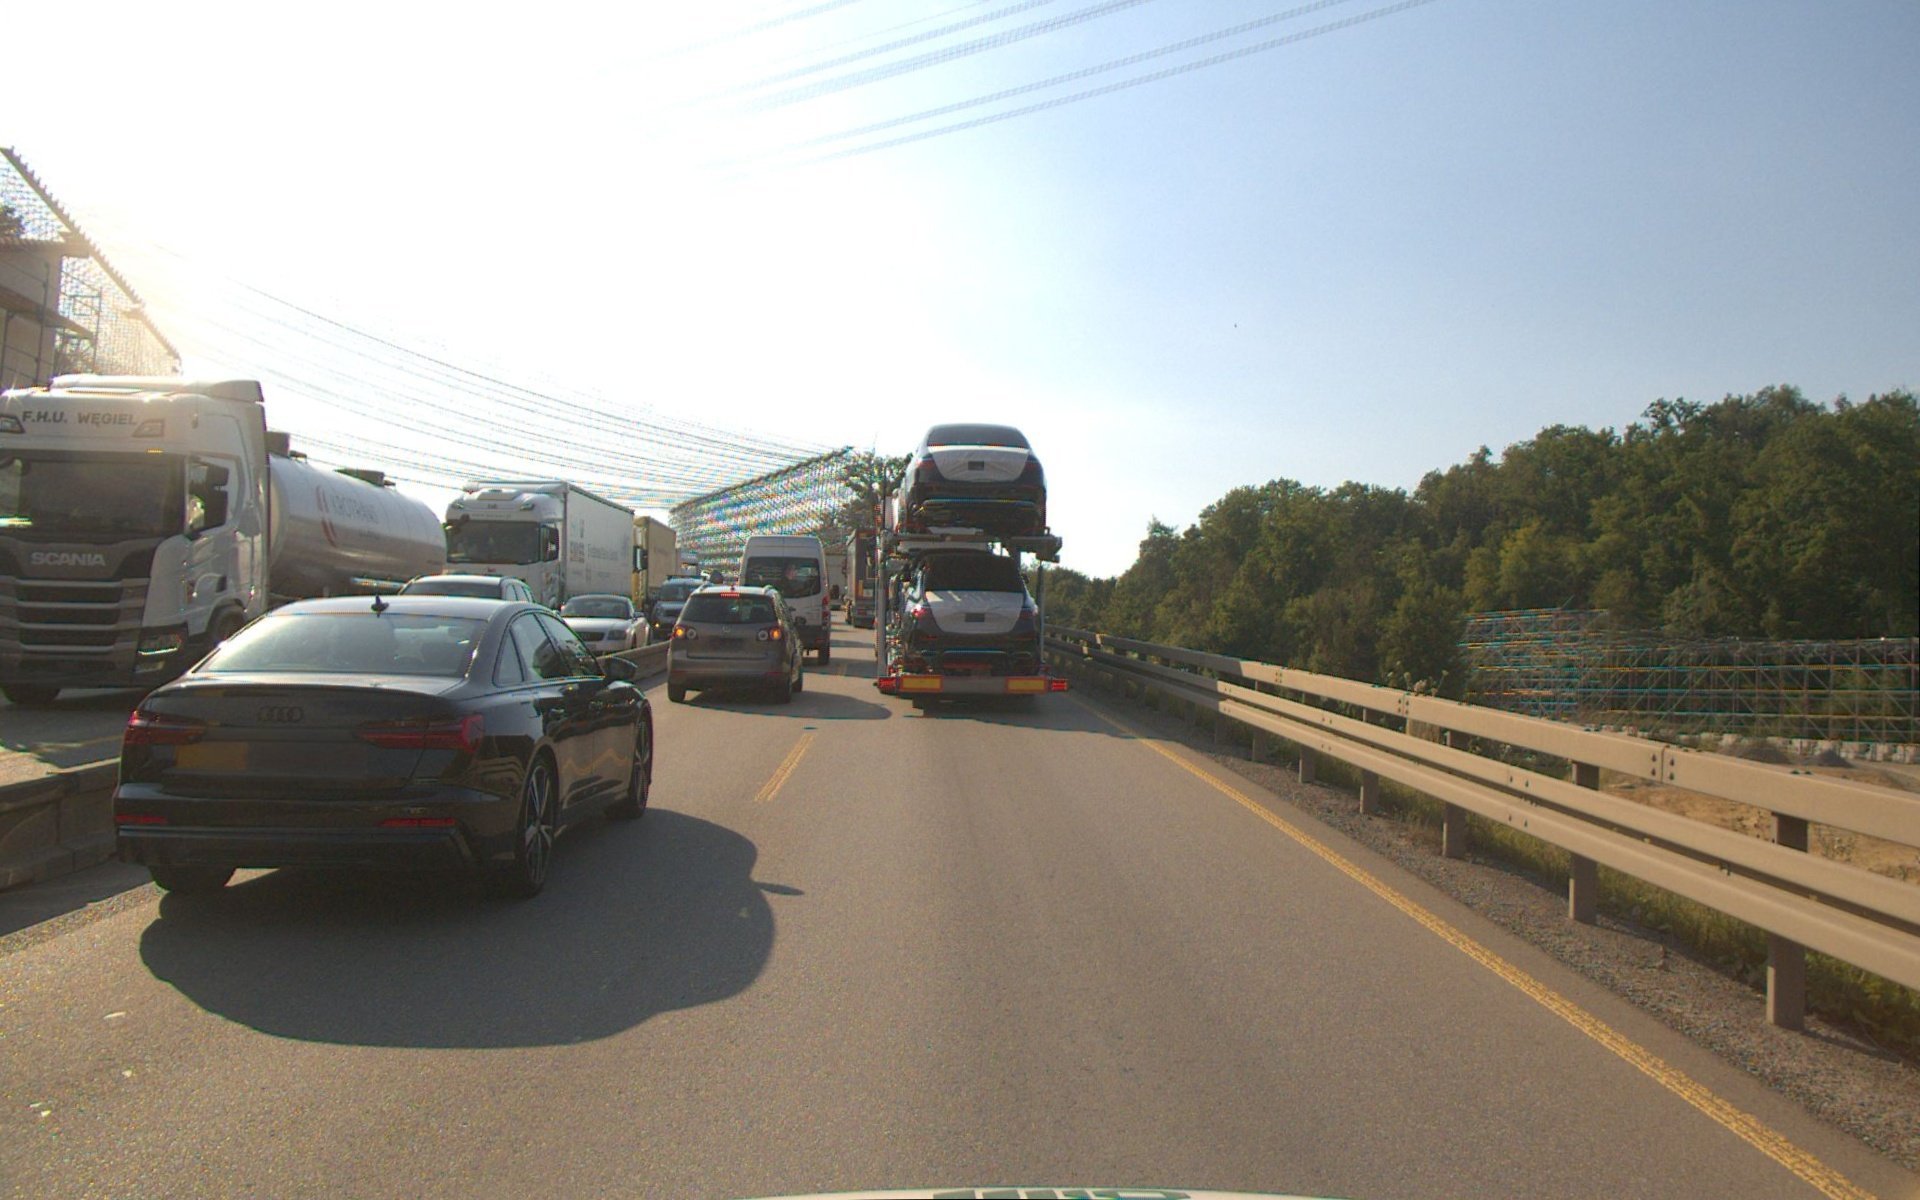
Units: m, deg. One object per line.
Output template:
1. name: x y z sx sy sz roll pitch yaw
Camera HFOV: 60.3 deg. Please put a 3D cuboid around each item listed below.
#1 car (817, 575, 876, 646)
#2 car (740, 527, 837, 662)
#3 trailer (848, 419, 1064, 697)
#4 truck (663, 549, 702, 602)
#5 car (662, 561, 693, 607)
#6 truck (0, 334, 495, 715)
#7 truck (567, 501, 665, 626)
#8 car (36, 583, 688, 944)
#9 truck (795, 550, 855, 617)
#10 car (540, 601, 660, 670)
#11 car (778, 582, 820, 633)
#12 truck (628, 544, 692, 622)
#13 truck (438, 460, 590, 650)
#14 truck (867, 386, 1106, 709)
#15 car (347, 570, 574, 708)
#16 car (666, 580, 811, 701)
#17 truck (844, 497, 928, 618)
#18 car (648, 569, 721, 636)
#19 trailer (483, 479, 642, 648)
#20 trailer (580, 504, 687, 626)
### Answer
1. car: -3.425 0.338 49.297 1.636 2.019 3.813 0 -1 -6
2. car: -3.634 -0.071 35.574 1.940 2.731 4.142 0 -1 -5
3. trailer: -0.556 -0.487 31.905 2.819 4.064 15.261 0 -1 -5
4. truck: -22.536 -1.972 134.599 2.590 4.065 9.017 1 0 -6
5. car: -17.802 -0.999 104.335 1.636 2.813 4.953 1 0 -6
6. truck: -9.970 -0.855 24.640 2.753 4.039 13.886 1 0 -3
7. truck: -12.515 -1.212 60.646 2.837 4.347 5.764 0 -1 -5
8. car: -2.954 0.719 9.597 1.901 1.506 5.221 0 -1 0
9. truck: -10.274 -1.218 124.630 3.581 4.758 11.669 1 0 -9
10. car: -7.093 0.684 32.944 1.677 1.274 4.049 0 -1 -3
11. car: -6.638 0.334 67.986 1.636 2.019 3.812 0 -1 -6
12. truck: -14.644 -0.752 81.228 2.312 3.593 7.689 0 -1 -5
13. truck: -10.961 -0.980 41.239 2.395 4.347 6.317 0 -1 -3
14. truck: 0.188 -0.607 23.747 2.814 4.050 5.764 0 -1 -5
15. car: -6.646 0.505 22.546 1.808 1.676 4.558 0 -1 -1
16. car: -3.142 0.577 24.122 1.666 1.615 4.145 0 -1 -2
17. truck: -3.376 -1.753 71.880 3.165 4.758 11.683 1 0 -5
18. car: -8.479 0.057 51.222 1.797 1.950 4.860 1 0 -4
19. trailer: -11.404 -0.841 48.677 2.404 4.340 12.136 0 -1 -3
20. trailer: -13.177 -1.173 67.952 2.837 4.471 14.362 0 -1 -5
